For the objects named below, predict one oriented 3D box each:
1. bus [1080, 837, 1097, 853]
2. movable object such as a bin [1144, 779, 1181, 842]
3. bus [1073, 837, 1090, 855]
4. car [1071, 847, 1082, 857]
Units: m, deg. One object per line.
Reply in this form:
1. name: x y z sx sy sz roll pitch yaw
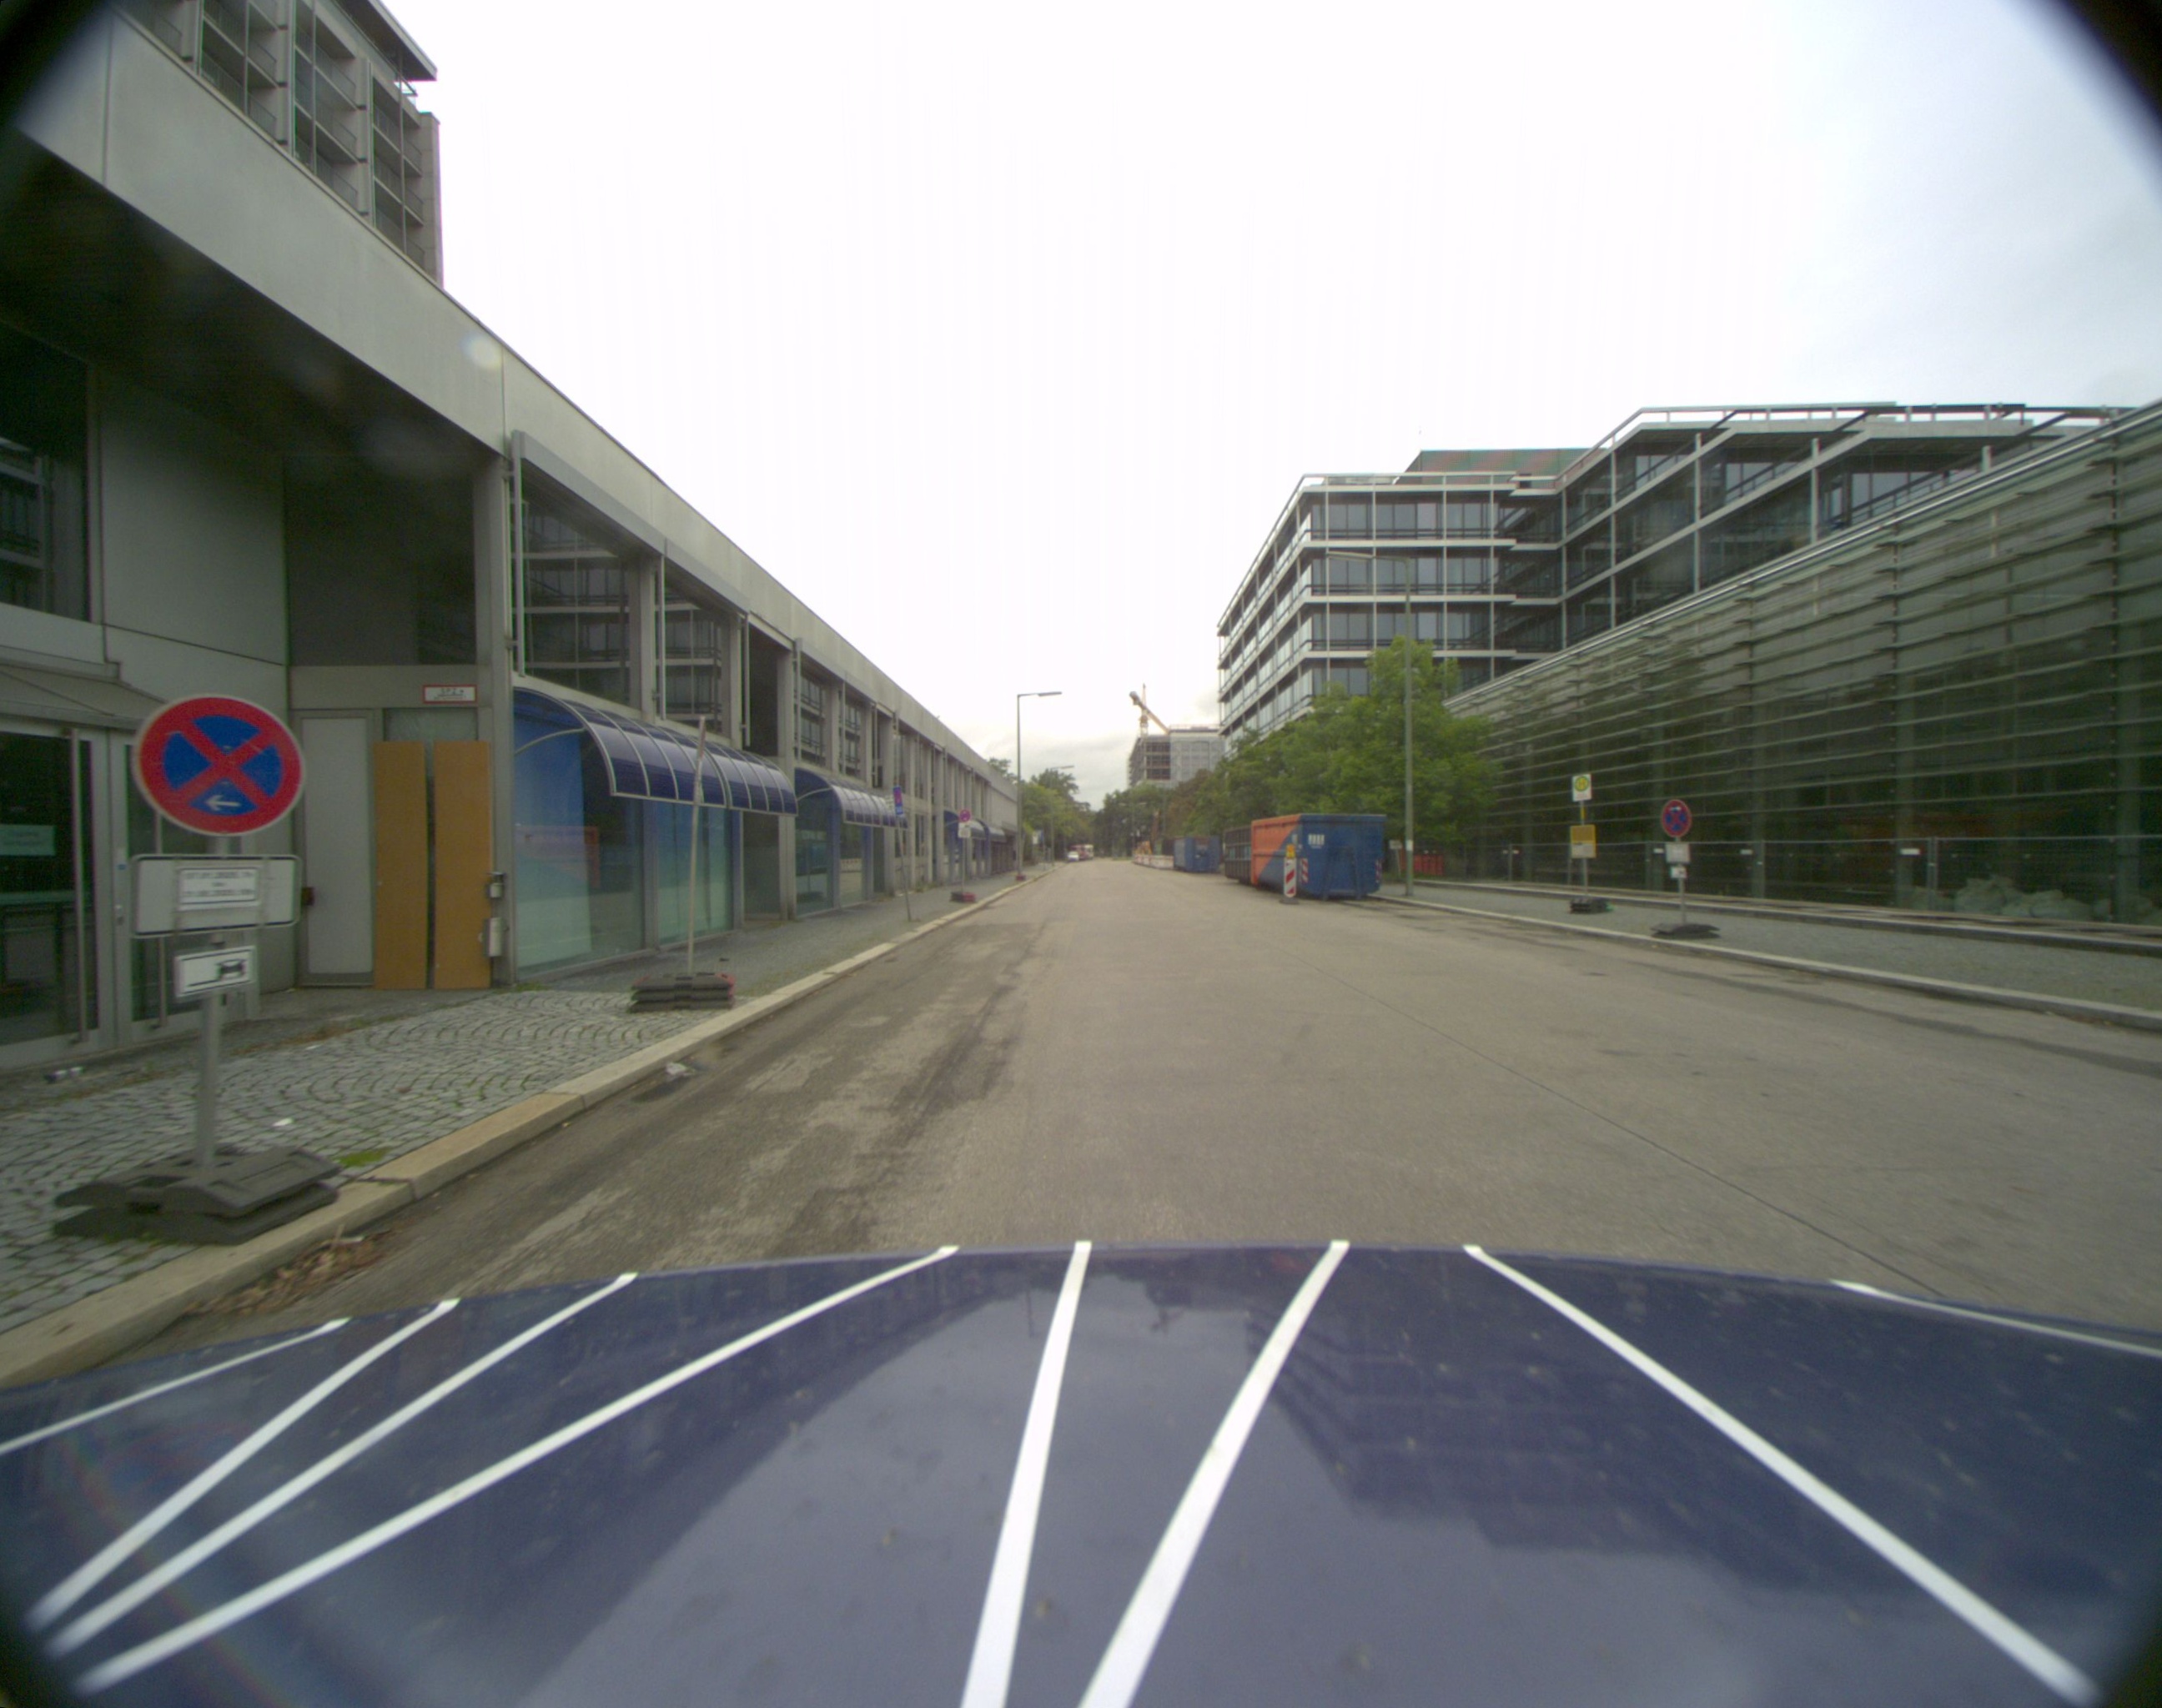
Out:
1. bus: 1.358 -1.605 135.795 2.076 2.714 5.870 0 1 10
2. movable object such as a bin: 9.050 -4.690 85.728 2.911 6.527 11.781 0 1 0
3. bus: 0.111 -1.350 121.765 2.077 2.789 6.274 0 1 6
4. car: -0.653 -0.344 115.331 1.536 1.484 4.059 0 2 -1
